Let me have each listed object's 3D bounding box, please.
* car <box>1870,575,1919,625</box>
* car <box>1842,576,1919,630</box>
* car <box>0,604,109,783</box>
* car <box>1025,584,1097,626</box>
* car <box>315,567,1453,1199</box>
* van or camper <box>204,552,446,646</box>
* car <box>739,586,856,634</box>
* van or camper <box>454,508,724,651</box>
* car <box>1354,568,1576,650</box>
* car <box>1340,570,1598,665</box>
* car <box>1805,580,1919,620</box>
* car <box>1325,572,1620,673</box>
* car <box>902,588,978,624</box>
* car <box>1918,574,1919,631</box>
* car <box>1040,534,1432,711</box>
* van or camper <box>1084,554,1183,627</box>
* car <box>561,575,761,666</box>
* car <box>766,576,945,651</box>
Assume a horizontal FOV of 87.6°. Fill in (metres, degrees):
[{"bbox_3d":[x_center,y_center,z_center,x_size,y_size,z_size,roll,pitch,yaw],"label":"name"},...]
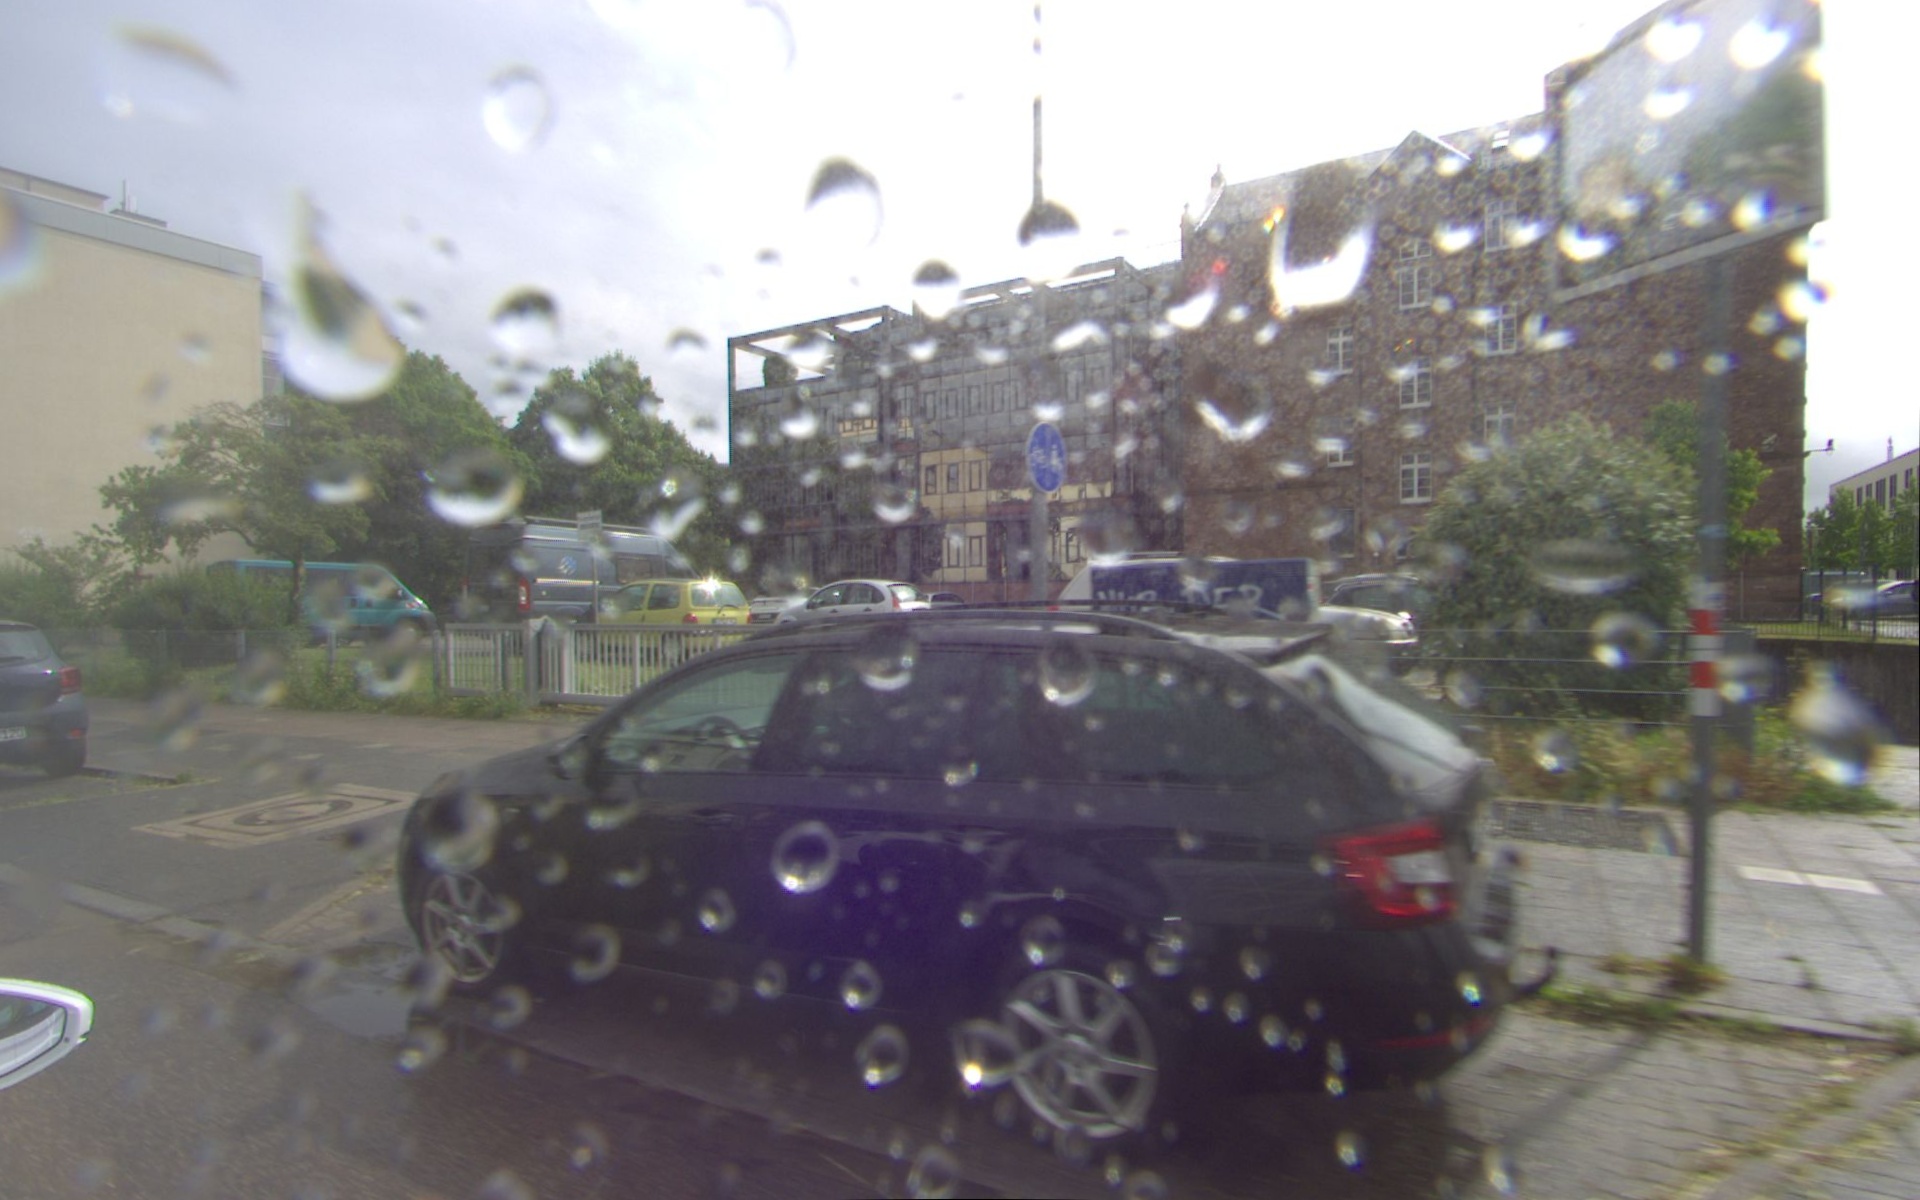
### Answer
[{"bbox_3d":[38.511,0.003,39.388,3.754,1.923,1.750,-2,-2,34],"label":"car"},{"bbox_3d":[35.887,0.124,37.706,3.754,1.996,1.750,-2,-2,34],"label":"car"},{"bbox_3d":[-10.162,0.865,9.601,3.939,1.548,1.754,-1,1,29],"label":"car"},{"bbox_3d":[4.118,0.239,40.432,1.660,1.538,3.496,-1,-2,28],"label":"car"},{"bbox_3d":[-0.453,0.714,4.046,4.312,1.561,1.771,0,3,30],"label":"car"},{"bbox_3d":[-16.197,-0.020,25.794,2.290,2.160,4.746,0,0,34],"label":"van or camper"},{"bbox_3d":[-5.380,0.298,33.553,1.649,1.485,3.965,0,1,32],"label":"car"},{"bbox_3d":[-7.499,-0.343,20.810,2.144,2.588,4.988,-1,-1,32],"label":"van or camper"},{"bbox_3d":[11.458,0.198,22.814,4.361,1.701,1.848,-1,1,33],"label":"car"},{"bbox_3d":[10.114,0.319,20.040,4.366,1.701,1.846,0,1,37],"label":"car"},{"bbox_3d":[41.150,0.027,45.687,3.754,1.671,1.750,-2,-2,34],"label":"car"},{"bbox_3d":[8.825,0.347,17.408,4.365,1.547,1.823,0,1,36],"label":"car"},{"bbox_3d":[-0.833,0.271,44.359,1.649,1.506,3.658,0,0,32],"label":"car"},{"bbox_3d":[35.840,0.024,34.529,3.754,2.032,1.750,-2,-2,34],"label":"car"},{"bbox_3d":[3.221,0.231,11.923,4.177,1.773,1.800,-1,1,32],"label":"car"},{"bbox_3d":[6.751,-0.276,38.459,2.225,2.518,4.781,-1,-2,30],"label":"van or camper"},{"bbox_3d":[-5.298,0.330,17.673,3.369,1.468,1.606,0,1,34],"label":"car"},{"bbox_3d":[-2.296,0.271,21.724,3.667,1.506,1.644,0,1,34],"label":"car"}]
